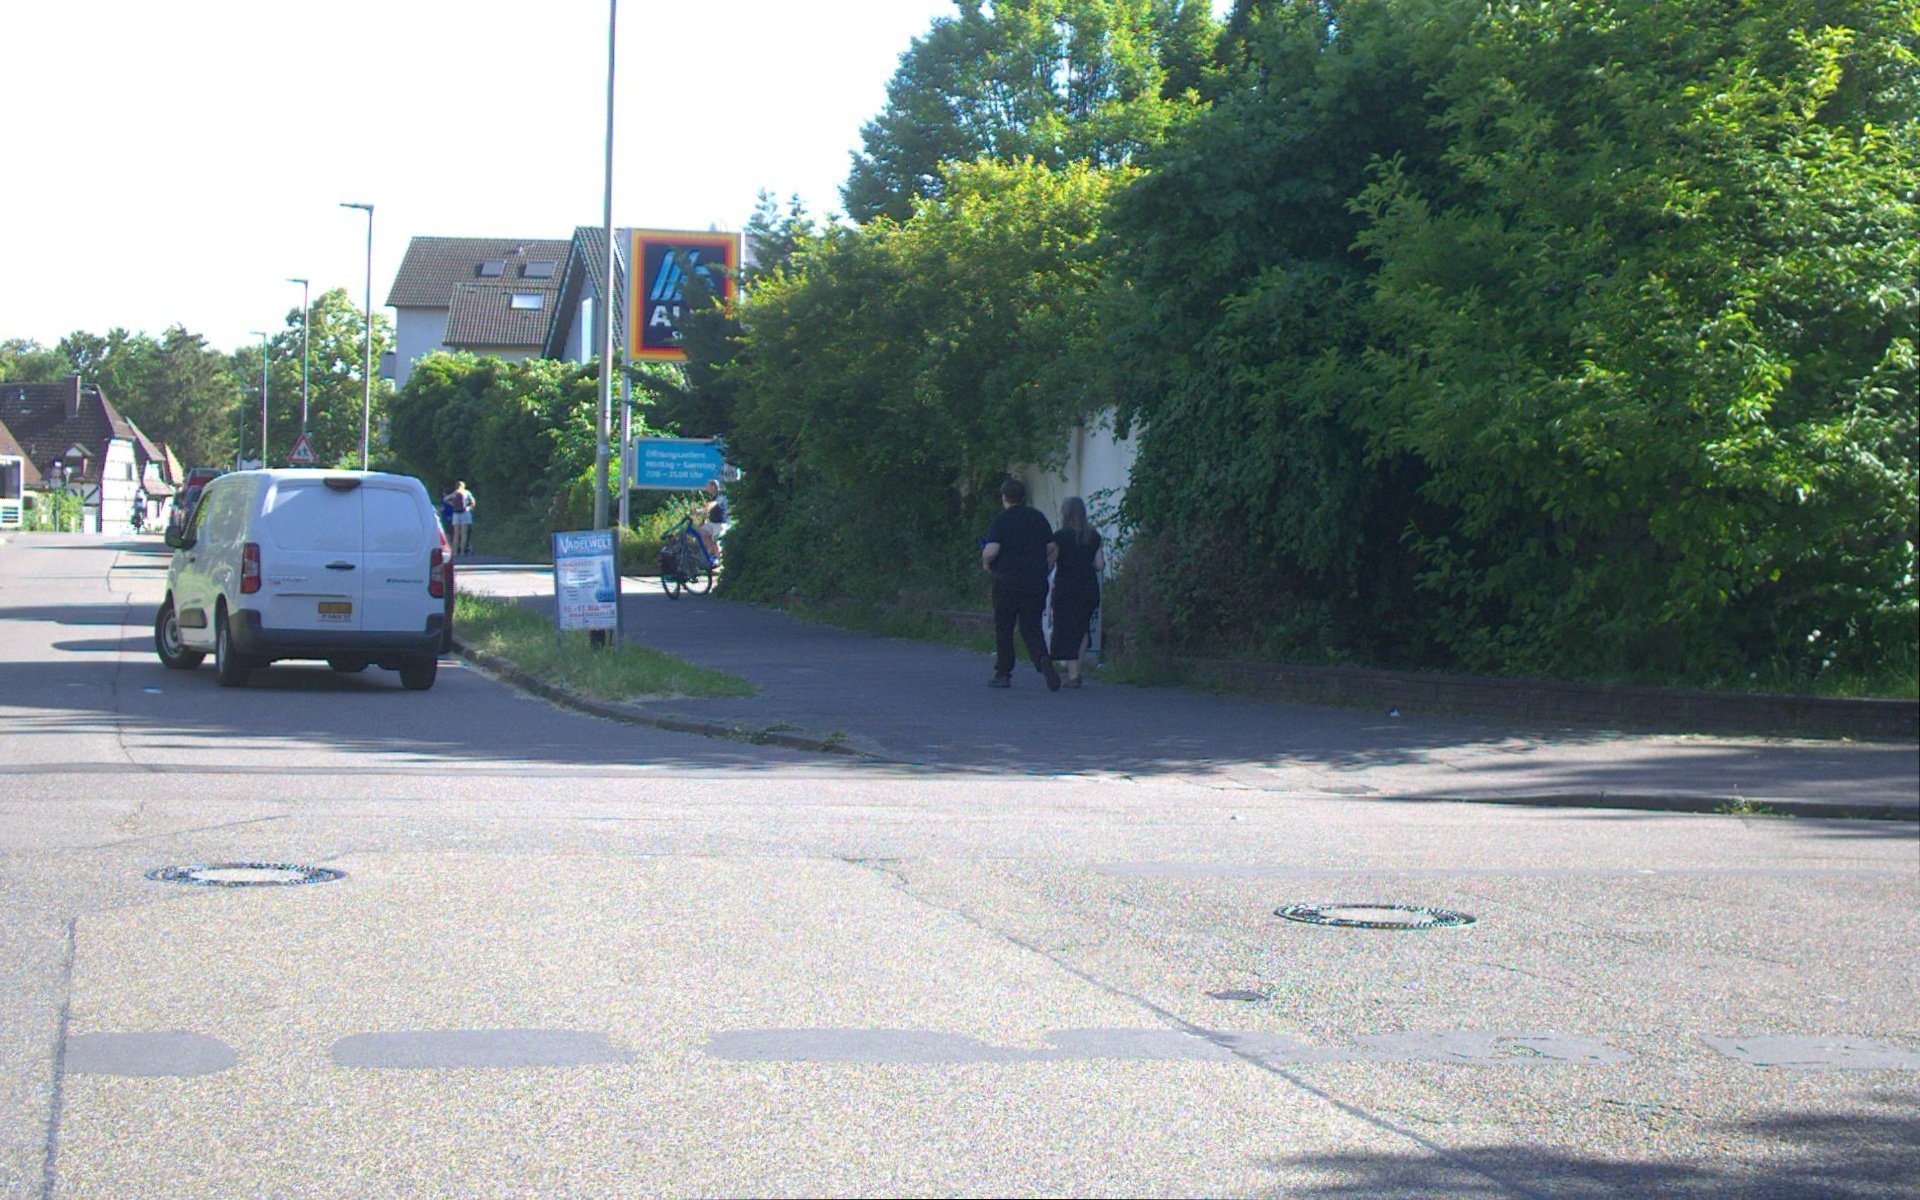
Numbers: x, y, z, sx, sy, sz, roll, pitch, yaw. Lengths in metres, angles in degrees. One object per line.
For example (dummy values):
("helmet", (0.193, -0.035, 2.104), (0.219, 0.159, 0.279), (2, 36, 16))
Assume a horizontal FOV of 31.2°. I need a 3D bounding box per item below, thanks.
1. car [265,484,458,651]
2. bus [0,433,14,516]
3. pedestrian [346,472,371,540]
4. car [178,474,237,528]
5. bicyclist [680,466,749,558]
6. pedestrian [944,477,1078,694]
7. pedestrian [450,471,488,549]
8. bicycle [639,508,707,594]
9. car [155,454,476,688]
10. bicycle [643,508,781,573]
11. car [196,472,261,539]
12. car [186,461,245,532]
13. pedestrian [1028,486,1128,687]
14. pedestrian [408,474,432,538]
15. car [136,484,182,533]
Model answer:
("car", (-6.483, -0.394, 36.926), (1.724, 1.650, 4.354), (1, 2, -14))
("bus", (-35.785, -4.230, 112.779), (3.042, 2.814, 10.578), (2, 2, 25))
("pedestrian", (-14.663, -2.290, 83.812), (0.567, 1.631, 0.547), (1, 2, -8))
("car", (-27.090, -3.540, 123.744), (1.803, 1.779, 4.001), (3, 0, -15))
("bicyclist", (-4.306, -1.539, 60.306), (0.963, 1.579, 0.909), (1, -1, -20))
("pedestrian", (0.402, -0.125, 27.756), (0.803, 1.711, 0.984), (-1, 1, -17))
("pedestrian", (-11.328, -2.091, 79.373), (0.798, 1.775, 0.809), (1, 2, -5))
("bicycle", (-4.153, -0.706, 49.849), (0.720, 1.216, 1.896), (-1, 1, 3))
("car", (-5.700, -0.288, 29.988), (1.993, 1.875, 4.290), (1, 1, -21))
("bicycle", (-4.349, -1.050, 60.351), (2.272, 1.135, 0.789), (-1, 1, -22))
("car", (-20.869, -2.695, 98.029), (1.724, 1.831, 4.001), (1, 1, -12))
("car", (-28.393, -3.927, 131.013), (1.866, 2.553, 4.769), (3, 0, -15))
("pedestrian", (0.958, -0.115, 28.006), (0.573, 1.604, 0.793), (-1, 1, -17))
("pedestrian", (-13.894, -2.414, 88.425), (0.567, 1.631, 0.547), (1, 2, -8))
("car", (-34.707, -3.983, 148.942), (1.803, 2.061, 4.001), (1, 1, -15))
